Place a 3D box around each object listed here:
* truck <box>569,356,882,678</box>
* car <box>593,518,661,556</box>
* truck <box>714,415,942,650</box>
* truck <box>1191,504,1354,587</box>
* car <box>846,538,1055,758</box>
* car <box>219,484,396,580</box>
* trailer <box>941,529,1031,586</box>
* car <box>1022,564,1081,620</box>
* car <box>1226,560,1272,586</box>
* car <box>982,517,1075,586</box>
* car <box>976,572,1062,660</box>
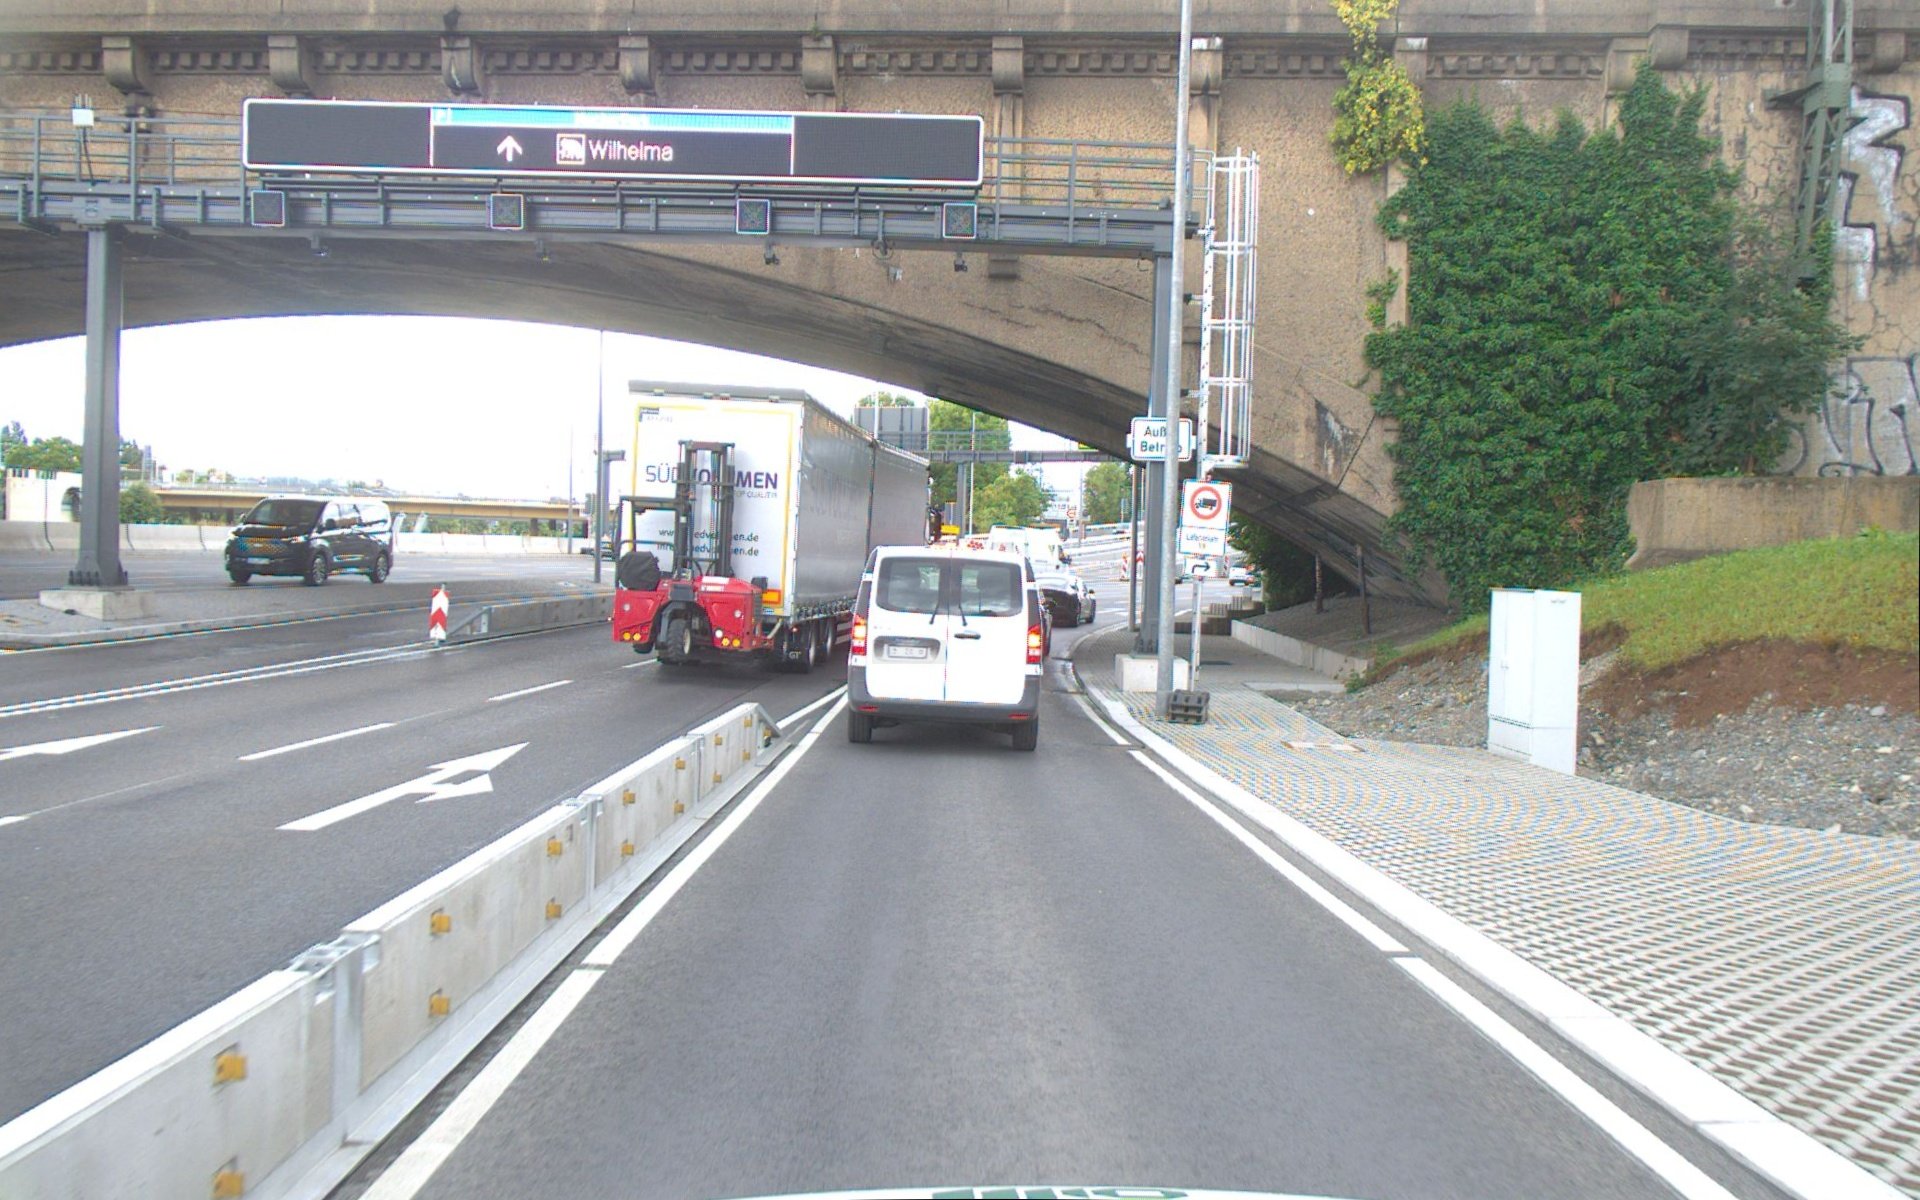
[{"bbox_3d":[-3.313,-1.093,26.681,2.857,4.087,10.205,2,0,3],"label":"truck"},{"bbox_3d":[-15.734,-2.985,78.299,1.662,1.644,4.001,3,3,11],"label":"car"},{"bbox_3d":[-2.520,-1.254,36.357,2.924,4.249,11.247,2,0,5],"label":"truck"},{"bbox_3d":[17.002,-2.773,88.395,3.256,3.874,16.564,5,3,29],"label":"truck"},{"bbox_3d":[-0.045,0.407,17.347,1.837,1.924,4.754,2,1,1],"label":"car"},{"bbox_3d":[-15.246,-1.587,38.991,1.922,2.048,5.192,2,2,2],"label":"car"},{"bbox_3d":[1.019,-1.616,63.334,1.954,1.991,4.078,5,3,23],"label":"trailer"},{"bbox_3d":[2.679,-0.275,48.982,1.470,1.494,3.399,2,2,-1],"label":"car"},{"bbox_3d":[16.519,-1.572,94.512,1.348,1.400,3.453,2,2,33],"label":"car"},{"bbox_3d":[2.857,-1.979,67.556,1.954,2.585,5.173,5,3,23],"label":"car"},{"bbox_3d":[1.274,0.297,35.396,1.713,1.653,3.847,1,2,2],"label":"car"}]
